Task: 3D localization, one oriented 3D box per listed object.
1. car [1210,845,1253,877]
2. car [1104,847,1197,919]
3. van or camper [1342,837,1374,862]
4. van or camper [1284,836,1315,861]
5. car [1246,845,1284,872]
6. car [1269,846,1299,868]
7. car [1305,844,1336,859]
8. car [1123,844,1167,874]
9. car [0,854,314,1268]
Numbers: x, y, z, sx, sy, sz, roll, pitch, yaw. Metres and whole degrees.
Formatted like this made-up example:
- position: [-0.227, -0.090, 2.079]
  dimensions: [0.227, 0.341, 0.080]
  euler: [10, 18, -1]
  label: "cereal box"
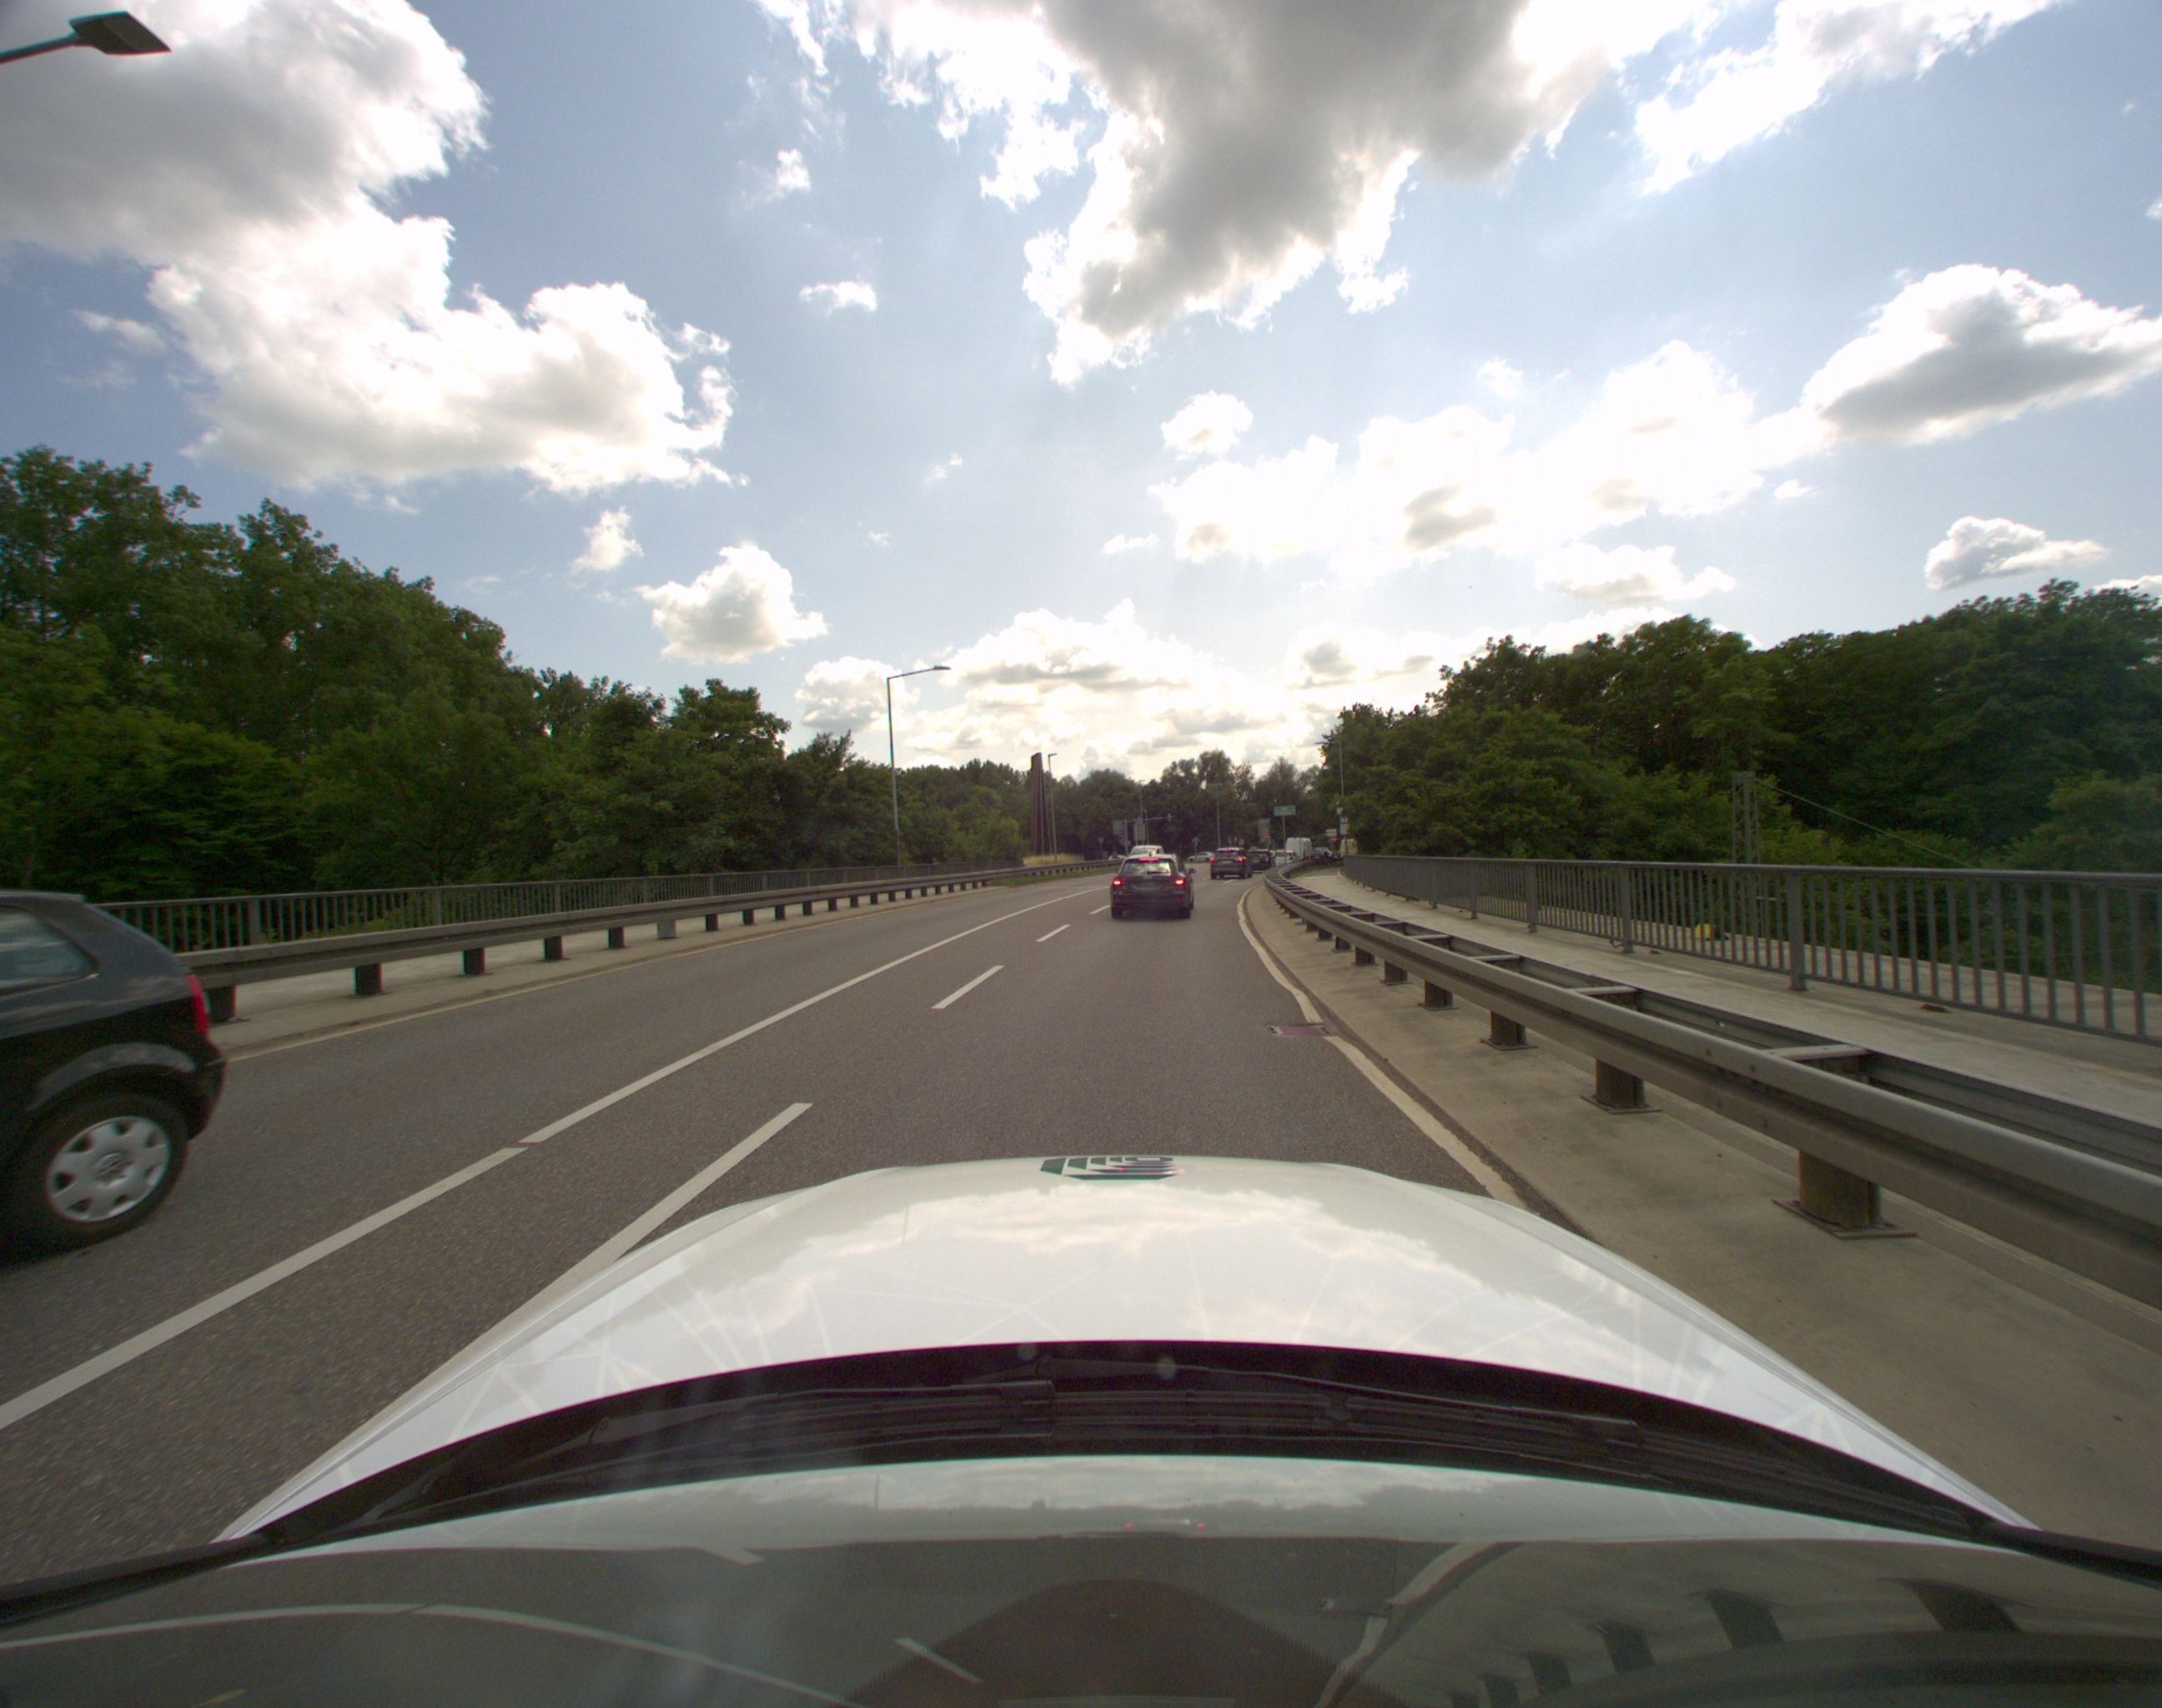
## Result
- position: [8.118, 0.359, 43.700]
  dimensions: [1.807, 1.651, 3.874]
  euler: [0, 0, 18]
  label: "car"
- position: [1.765, 0.600, 19.423]
  dimensions: [1.816, 1.491, 4.219]
  euler: [0, 1, 10]
  label: "car"
- position: [29.312, -0.467, 86.105]
  dimensions: [1.974, 2.590, 4.116]
  euler: [0, 1, 38]
  label: "van or camper"
- position: [21.885, -0.564, 81.498]
  dimensions: [2.253, 2.340, 5.269]
  euler: [0, 0, 23]
  label: "van or camper"
- position: [12.115, 0.275, 53.497]
  dimensions: [1.718, 1.651, 3.877]
  euler: [-1, 0, 23]
  label: "car"
- position: [15.776, 0.201, 63.100]
  dimensions: [1.718, 1.651, 3.877]
  euler: [1, 1, 22]
  label: "car"
- position: [22.254, -0.225, 75.682]
  dimensions: [1.667, 1.398, 3.702]
  euler: [-1, 0, 34]
  label: "car"
- position: [3.941, 0.273, 49.658]
  dimensions: [1.799, 1.754, 4.325]
  euler: [0, 0, 17]
  label: "car"
- position: [-4.732, 0.739, 2.044]
  dimensions: [1.808, 1.452, 3.928]
  euler: [0, 0, 2]
  label: "car"
